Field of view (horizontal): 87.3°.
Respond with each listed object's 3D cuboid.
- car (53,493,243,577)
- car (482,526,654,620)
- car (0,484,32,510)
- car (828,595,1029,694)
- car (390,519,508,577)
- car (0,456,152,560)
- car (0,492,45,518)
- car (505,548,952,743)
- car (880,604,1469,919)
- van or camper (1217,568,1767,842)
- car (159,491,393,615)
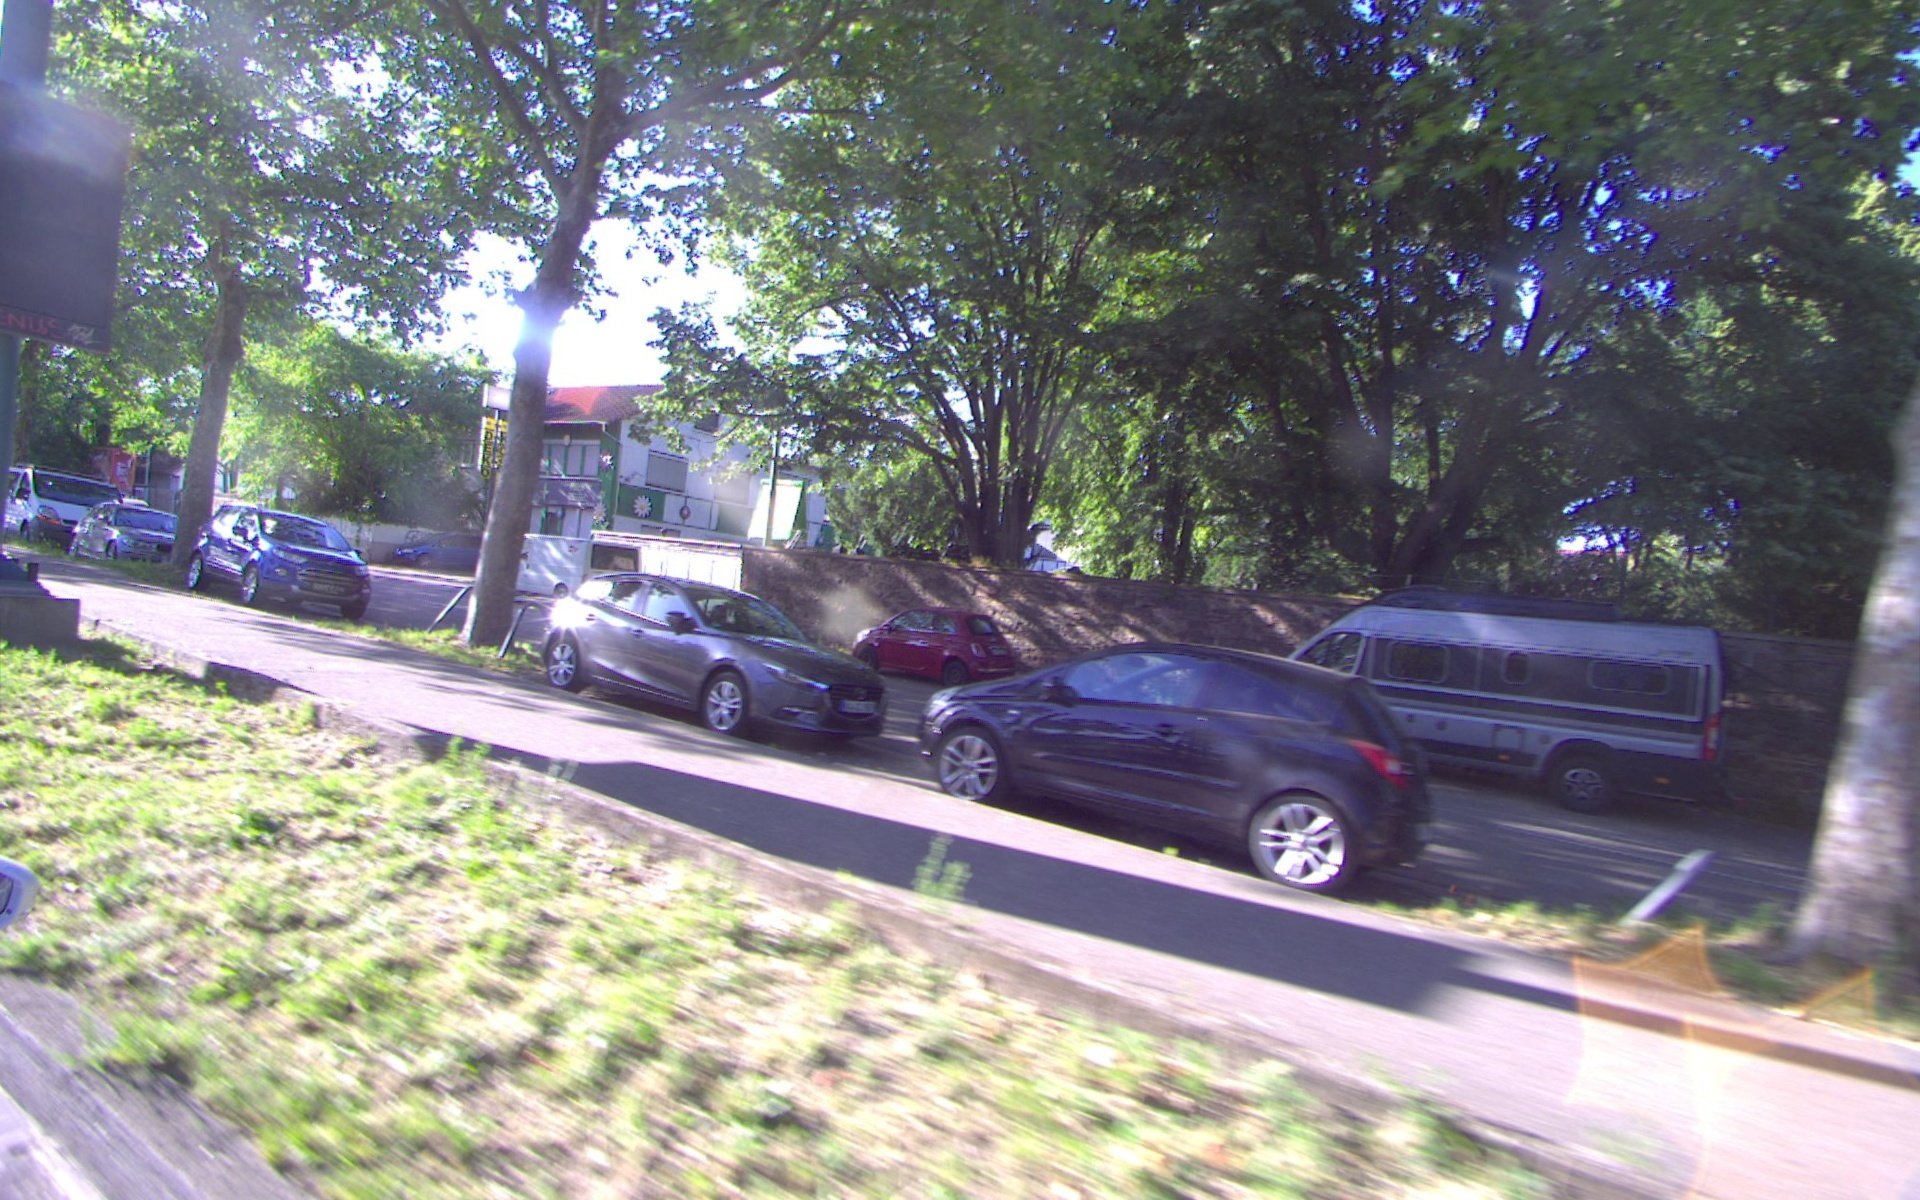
[{"bbox_3d":[-17.588,-1.421,21.762,3.987,1.305,1.996,6,-2,33],"label":"car"},{"bbox_3d":[-11.041,-0.782,28.219,4.867,2.038,2.087,7,0,37],"label":"car"},{"bbox_3d":[-63.039,-6.876,66.120,4.615,1.502,1.871,6,2,33],"label":"car"},{"bbox_3d":[-0.680,0.837,20.133,3.701,1.492,1.688,7,2,37],"label":"car"},{"bbox_3d":[-22.310,-2.253,44.050,1.819,1.872,4.090,7,-2,32],"label":"car"},{"bbox_3d":[-22.751,-2.344,25.145,5.726,2.037,2.193,6,-2,33],"label":"car"},{"bbox_3d":[-58.934,-5.960,62.898,4.246,1.389,1.729,6,2,36],"label":"car"},{"bbox_3d":[-2.598,0.441,10.795,4.604,1.397,1.996,7,-3,35],"label":"car"},{"bbox_3d":[1.525,1.019,7.571,3.822,1.454,1.795,6,-2,34],"label":"car"},{"bbox_3d":[7.485,1.231,14.803,6.463,2.720,2.554,7,3,37],"label":"van or camper"},{"bbox_3d":[-12.015,-0.844,17.594,4.282,1.661,1.739,6,-2,33],"label":"car"}]
